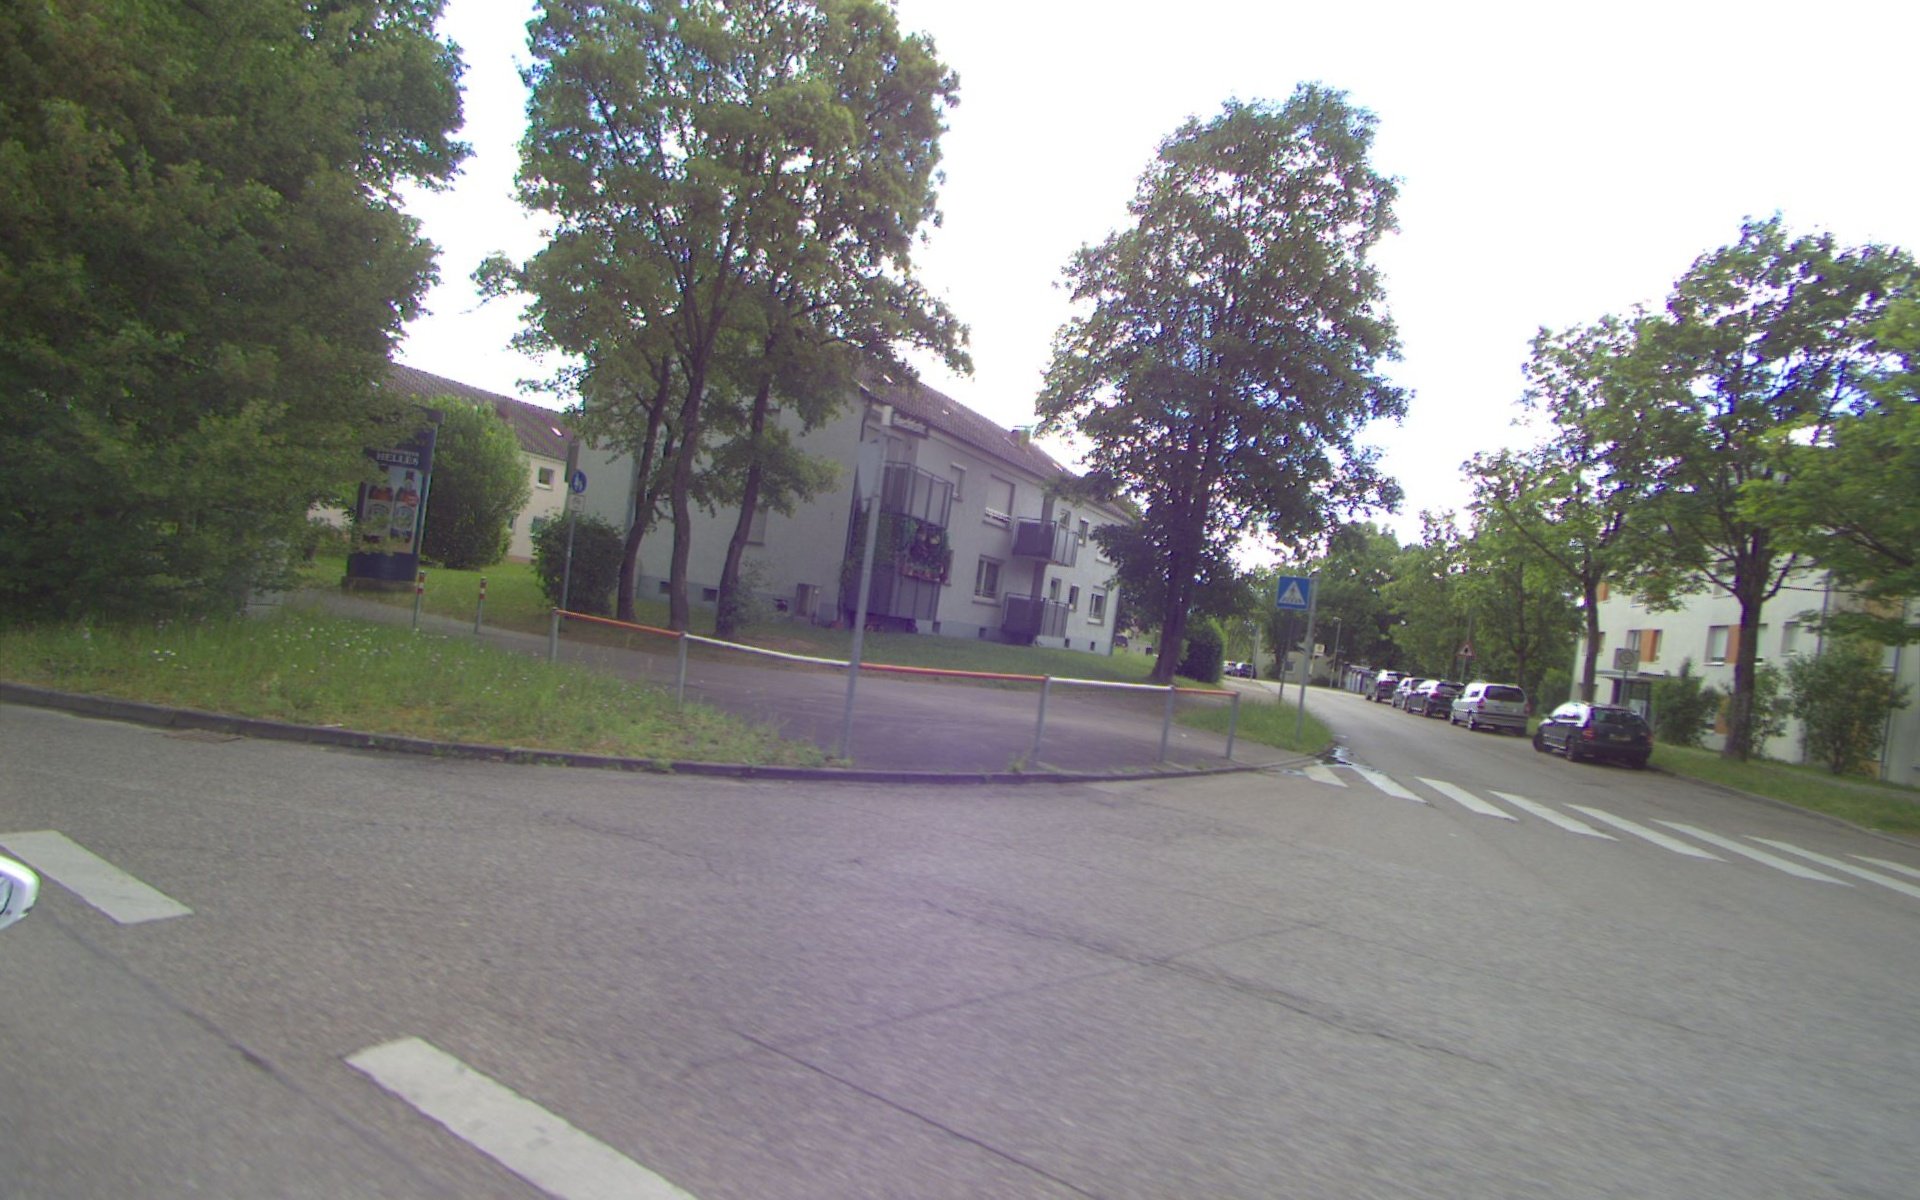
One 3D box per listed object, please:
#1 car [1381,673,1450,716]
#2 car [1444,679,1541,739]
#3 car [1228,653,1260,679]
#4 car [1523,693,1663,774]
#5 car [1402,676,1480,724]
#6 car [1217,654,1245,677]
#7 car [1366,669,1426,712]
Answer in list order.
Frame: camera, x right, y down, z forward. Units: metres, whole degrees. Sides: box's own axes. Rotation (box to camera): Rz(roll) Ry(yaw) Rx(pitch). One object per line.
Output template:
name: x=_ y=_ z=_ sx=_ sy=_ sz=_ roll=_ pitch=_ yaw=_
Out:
car: x=20.800 y=4.291 z=46.111 sx=2.084 sy=1.531 sz=3.961 roll=7 pitch=-1 yaw=15
car: x=18.142 y=3.668 z=34.480 sx=1.757 sy=1.592 sz=4.004 roll=7 pitch=-1 yaw=12
car: x=26.897 y=6.225 z=95.452 sx=1.962 sy=2.145 sz=4.002 roll=7 pitch=-1 yaw=6
car: x=15.599 y=3.232 z=25.023 sx=1.607 sy=1.482 sz=3.777 roll=7 pitch=-1 yaw=12
car: x=19.358 y=3.993 z=40.660 sx=1.757 sy=1.531 sz=3.962 roll=7 pitch=-1 yaw=11
car: x=27.195 y=6.535 z=101.058 sx=1.962 sy=1.907 sz=4.002 roll=7 pitch=-1 yaw=6
car: x=22.453 y=4.625 z=51.977 sx=1.989 sy=1.808 sz=4.328 roll=7 pitch=-1 yaw=15
